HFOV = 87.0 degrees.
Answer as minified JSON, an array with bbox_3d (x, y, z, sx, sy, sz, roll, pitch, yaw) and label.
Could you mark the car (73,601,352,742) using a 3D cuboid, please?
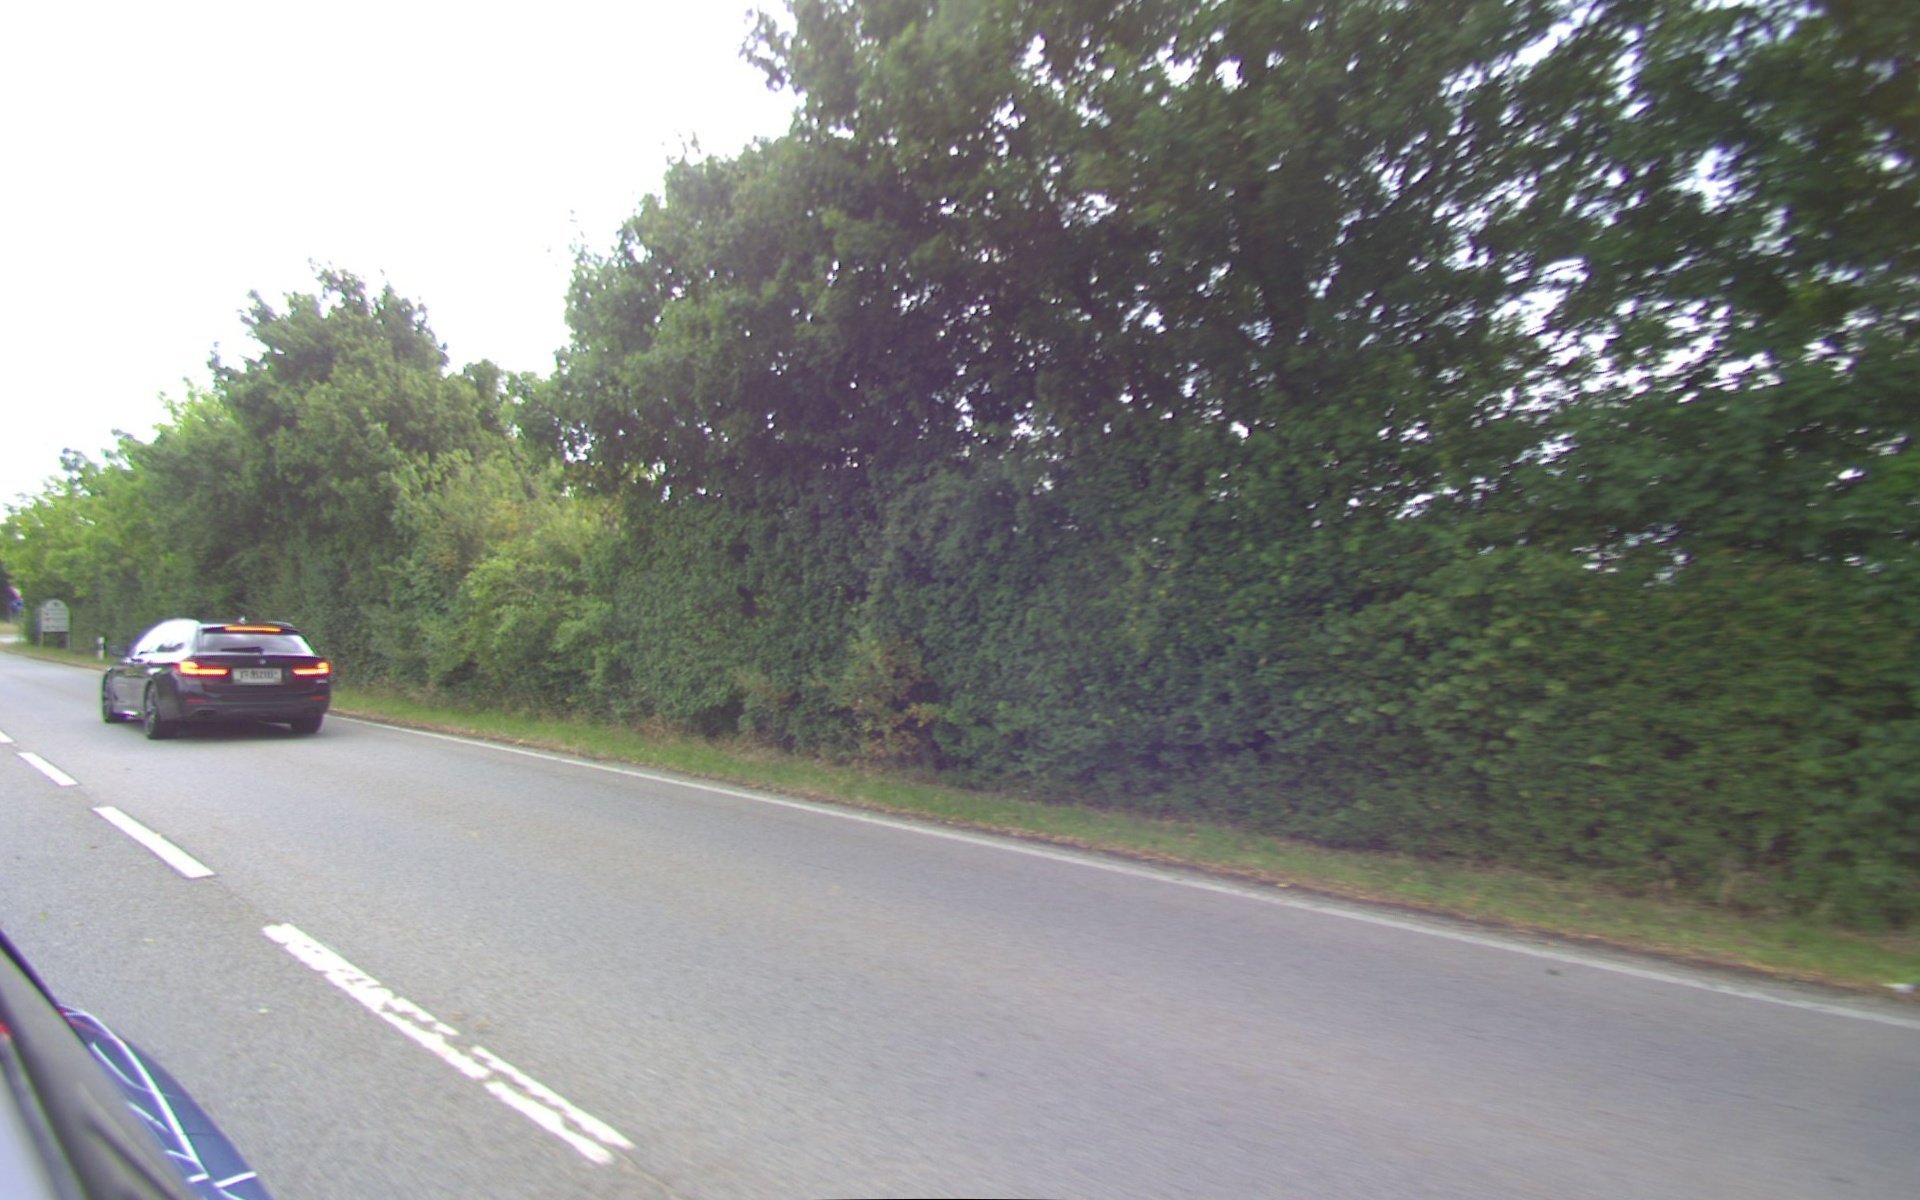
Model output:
[{"bbox_3d":[-10.197,0.865,13.679,4.551,1.598,1.921,-1,-3,39],"label":"car"}]
